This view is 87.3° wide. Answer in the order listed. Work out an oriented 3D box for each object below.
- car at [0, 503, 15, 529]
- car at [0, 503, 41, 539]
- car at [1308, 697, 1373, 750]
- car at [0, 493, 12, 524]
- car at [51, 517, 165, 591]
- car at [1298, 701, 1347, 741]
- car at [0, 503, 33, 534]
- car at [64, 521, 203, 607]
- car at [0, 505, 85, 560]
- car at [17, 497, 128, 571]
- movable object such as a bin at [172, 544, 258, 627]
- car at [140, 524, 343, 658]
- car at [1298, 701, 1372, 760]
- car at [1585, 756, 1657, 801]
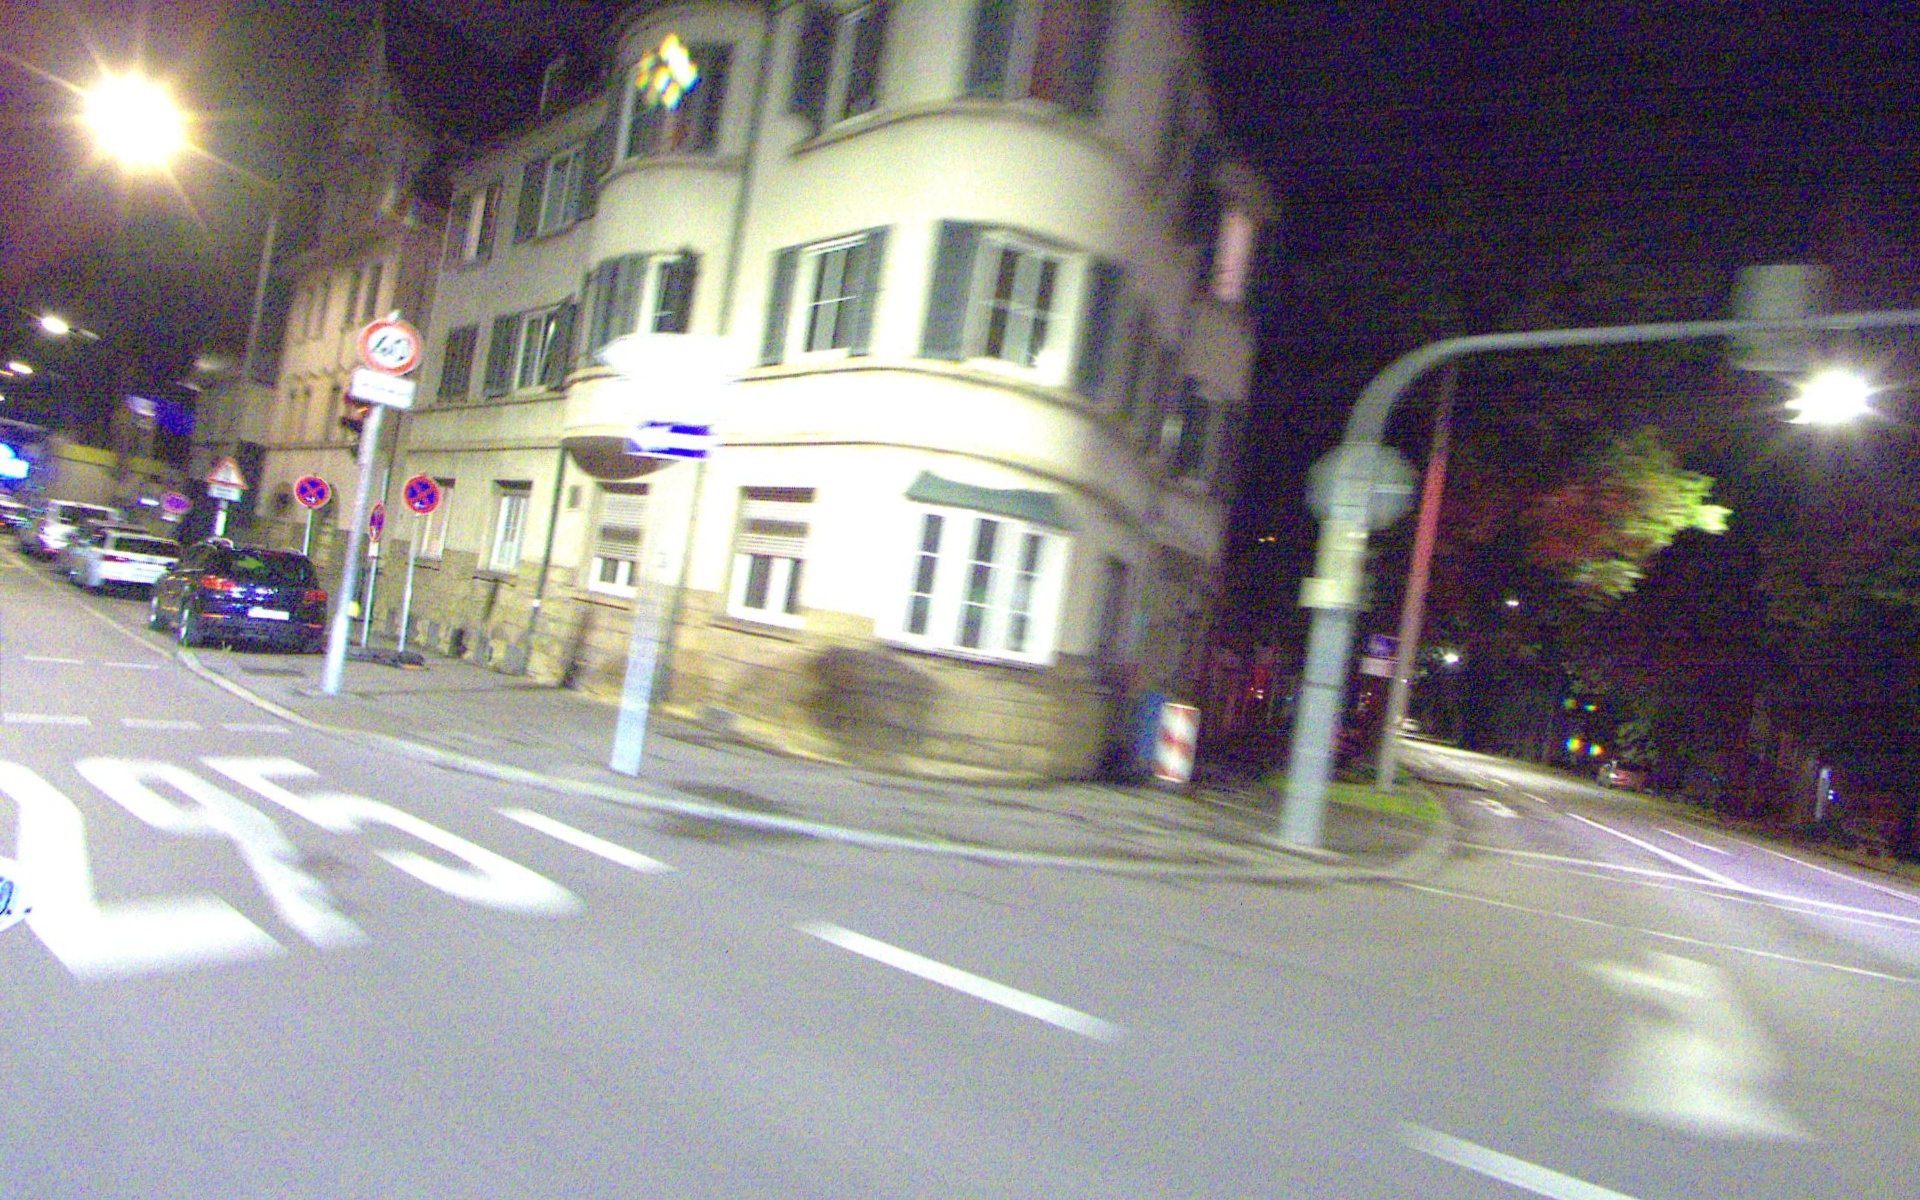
[{"bbox_3d":[-58.707,-5.224,61.062,3.841,1.482,1.594,6,-4,44],"label":"car"},{"bbox_3d":[-46.820,-3.952,49.671,4.423,1.442,1.777,6,-4,44],"label":"car"},{"bbox_3d":[14.030,4.547,37.164,1.963,1.521,4.006,8,-4,21],"label":"car"},{"bbox_3d":[-62.741,-6.052,64.787,4.705,1.897,1.799,7,-1,41],"label":"car"},{"bbox_3d":[-23.152,-1.280,27.295,4.154,1.584,1.742,6,-2,43],"label":"car"},{"bbox_3d":[17.316,5.770,48.046,1.963,1.521,4.006,8,-4,21],"label":"car"},{"bbox_3d":[-52.160,-4.523,54.935,3.839,1.442,1.778,6,-4,43],"label":"car"},{"bbox_3d":[-19.346,-0.885,23.469,4.768,1.526,1.742,6,-2,43],"label":"car"},{"bbox_3d":[-34.026,-2.511,37.249,4.161,1.618,1.817,6,-1,41],"label":"car"},{"bbox_3d":[-29.188,-2.196,33.014,5.299,1.950,2.069,6,-2,43],"label":"car"},{"bbox_3d":[-14.704,-0.284,19.849,1.319,1.449,0.937,6,-1,40],"label":"movable object such as a bin"},{"bbox_3d":[-11.878,-0.201,16.521,4.201,1.702,1.742,6,-2,43],"label":"car"},{"bbox_3d":[12.275,4.250,32.957,1.963,1.521,4.006,8,-4,21],"label":"car"},{"bbox_3d":[32.312,8.687,49.265,1.963,1.680,3.910,9,-4,22],"label":"car"}]
